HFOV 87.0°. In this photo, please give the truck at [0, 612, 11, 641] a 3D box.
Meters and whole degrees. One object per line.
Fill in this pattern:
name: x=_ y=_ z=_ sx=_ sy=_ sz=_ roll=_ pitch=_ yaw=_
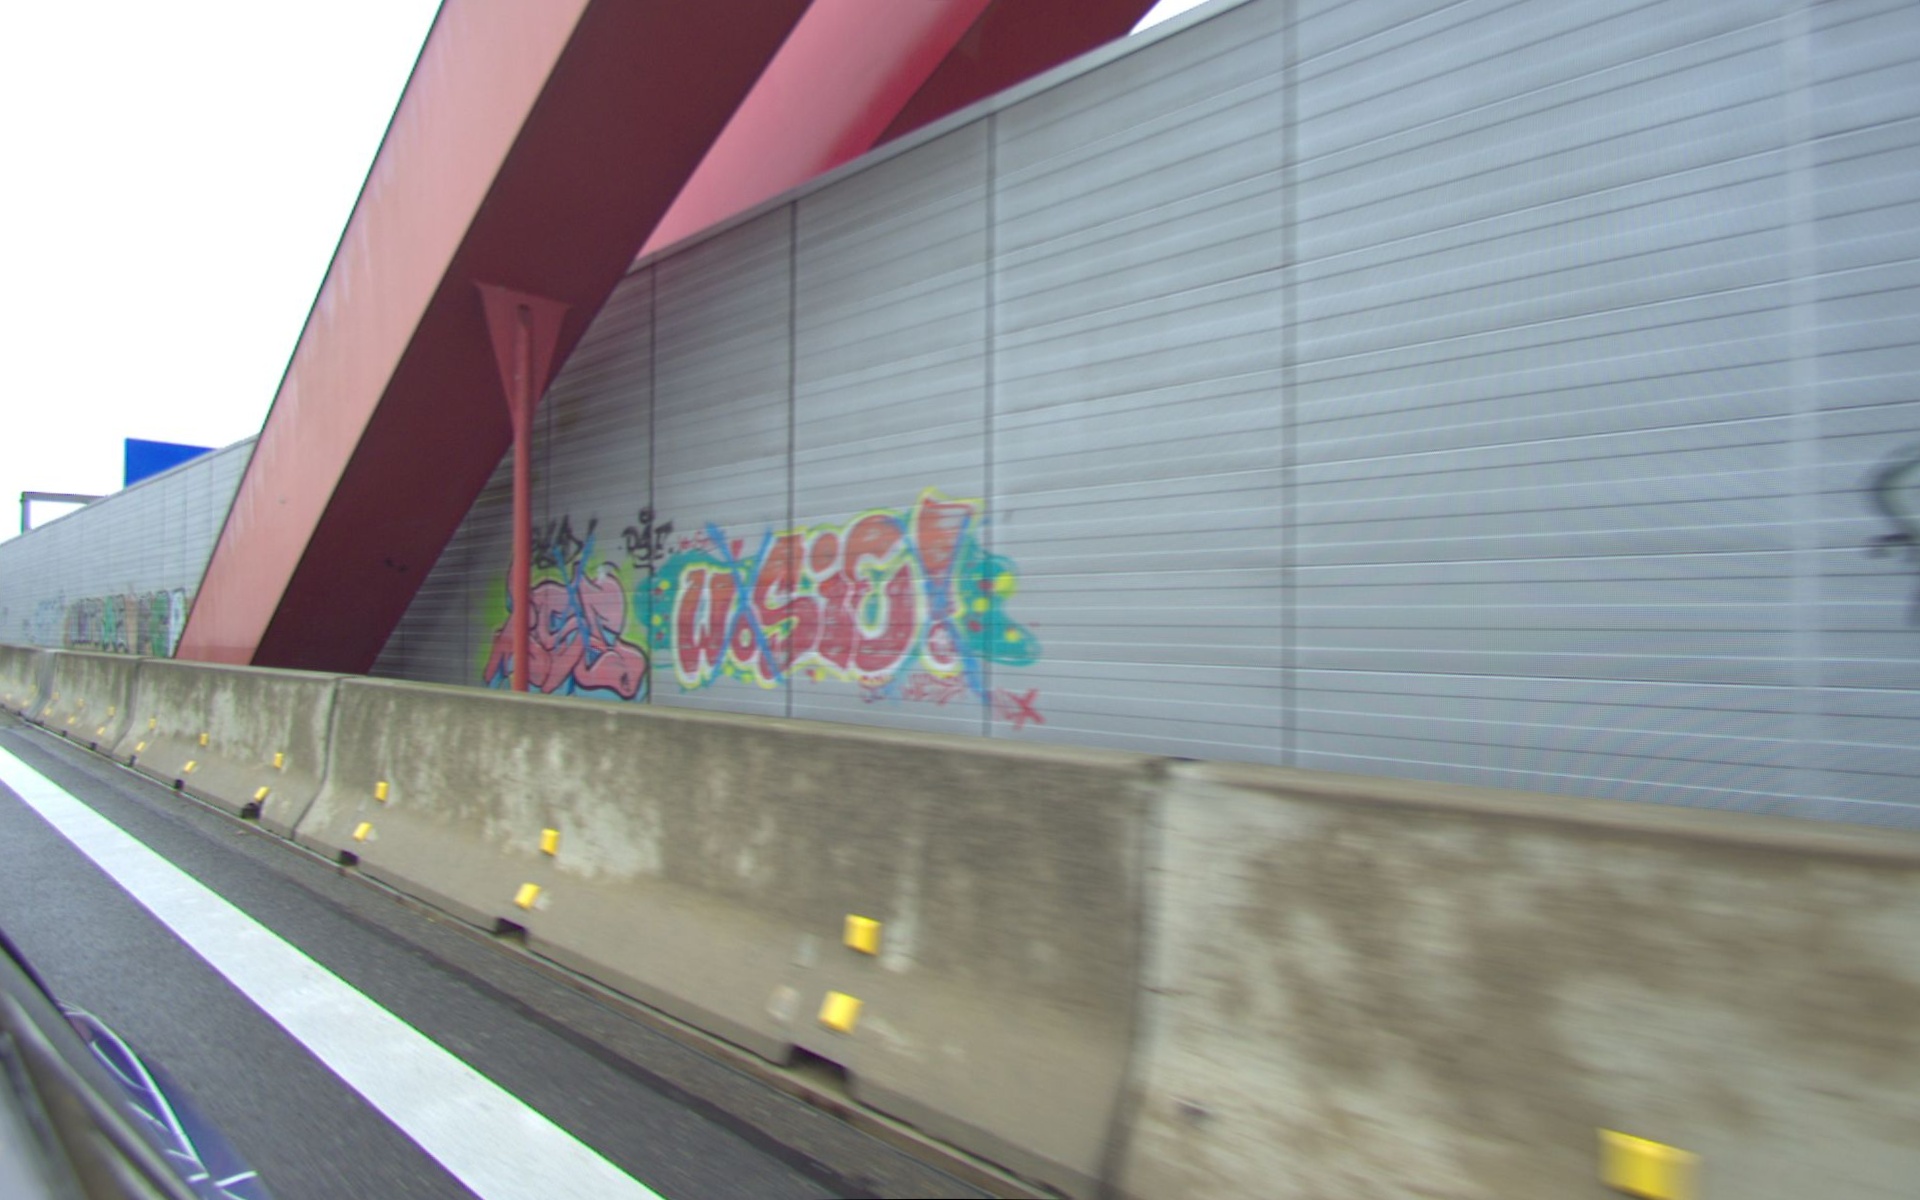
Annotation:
truck: x=-133.561 y=3.670 z=139.789 sx=7.516 sy=3.867 sz=2.833 roll=-1 pitch=0 yaw=40
